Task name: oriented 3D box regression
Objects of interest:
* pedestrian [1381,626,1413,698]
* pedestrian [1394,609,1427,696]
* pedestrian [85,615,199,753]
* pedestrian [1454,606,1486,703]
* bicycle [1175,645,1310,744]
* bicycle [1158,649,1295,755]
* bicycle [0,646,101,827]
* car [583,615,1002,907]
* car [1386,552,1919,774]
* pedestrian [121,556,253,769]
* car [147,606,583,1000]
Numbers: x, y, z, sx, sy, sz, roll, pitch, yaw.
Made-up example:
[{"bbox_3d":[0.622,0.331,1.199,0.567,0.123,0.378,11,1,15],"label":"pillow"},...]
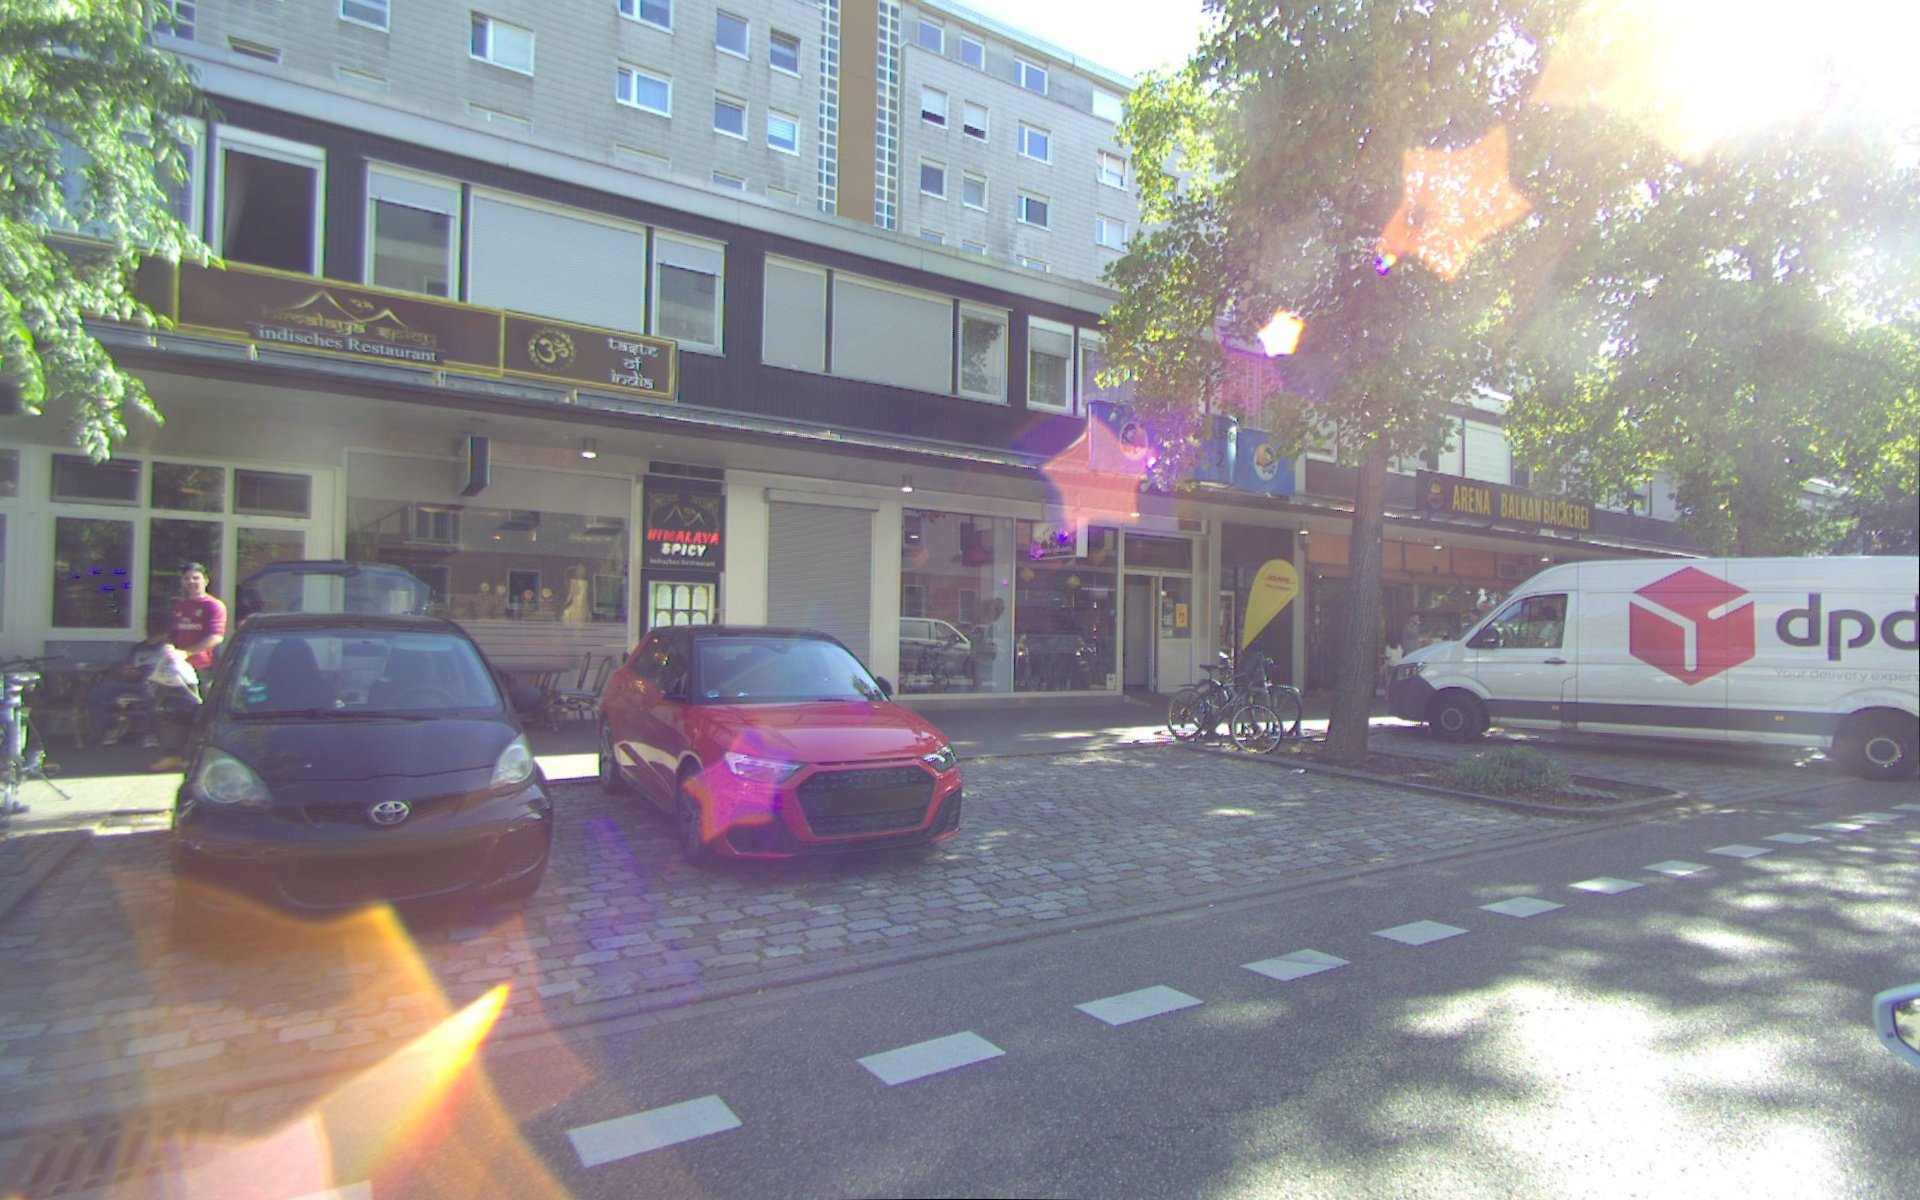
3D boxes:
[{"bbox_3d":[9.093,1.283,20.923,0.416,1.492,0.465,2,-2,-35],"label":"pedestrian"},{"bbox_3d":[9.514,1.097,21.218,0.423,1.805,0.481,2,-2,-35],"label":"pedestrian"},{"bbox_3d":[-7.832,0.784,9.653,0.738,1.262,0.645,2,-2,-32],"label":"pedestrian"},{"bbox_3d":[10.459,1.113,20.602,0.357,1.959,0.388,2,-1,-31],"label":"pedestrian"},{"bbox_3d":[3.745,1.227,13.494,0.579,1.121,1.860,2,0,-29],"label":"bicycle"},{"bbox_3d":[3.285,1.234,12.552,0.615,1.132,1.711,2,0,-29],"label":"bicycle"},{"bbox_3d":[-6.402,0.860,6.781,0.608,1.053,1.852,2,-2,-32],"label":"bicycle"},{"bbox_3d":[-1.488,0.904,7.439,1.691,1.470,3.896,2,-1,-32],"label":"car"},{"bbox_3d":[9.358,0.745,13.467,6.490,2.506,1.995,0,-2,33],"label":"car"},{"bbox_3d":[-6.553,0.522,8.543,0.622,1.735,0.581,1,-1,-4],"label":"pedestrian"},{"bbox_3d":[-3.523,0.824,5.860,1.597,1.470,3.641,2,-1,-35],"label":"car"}]
